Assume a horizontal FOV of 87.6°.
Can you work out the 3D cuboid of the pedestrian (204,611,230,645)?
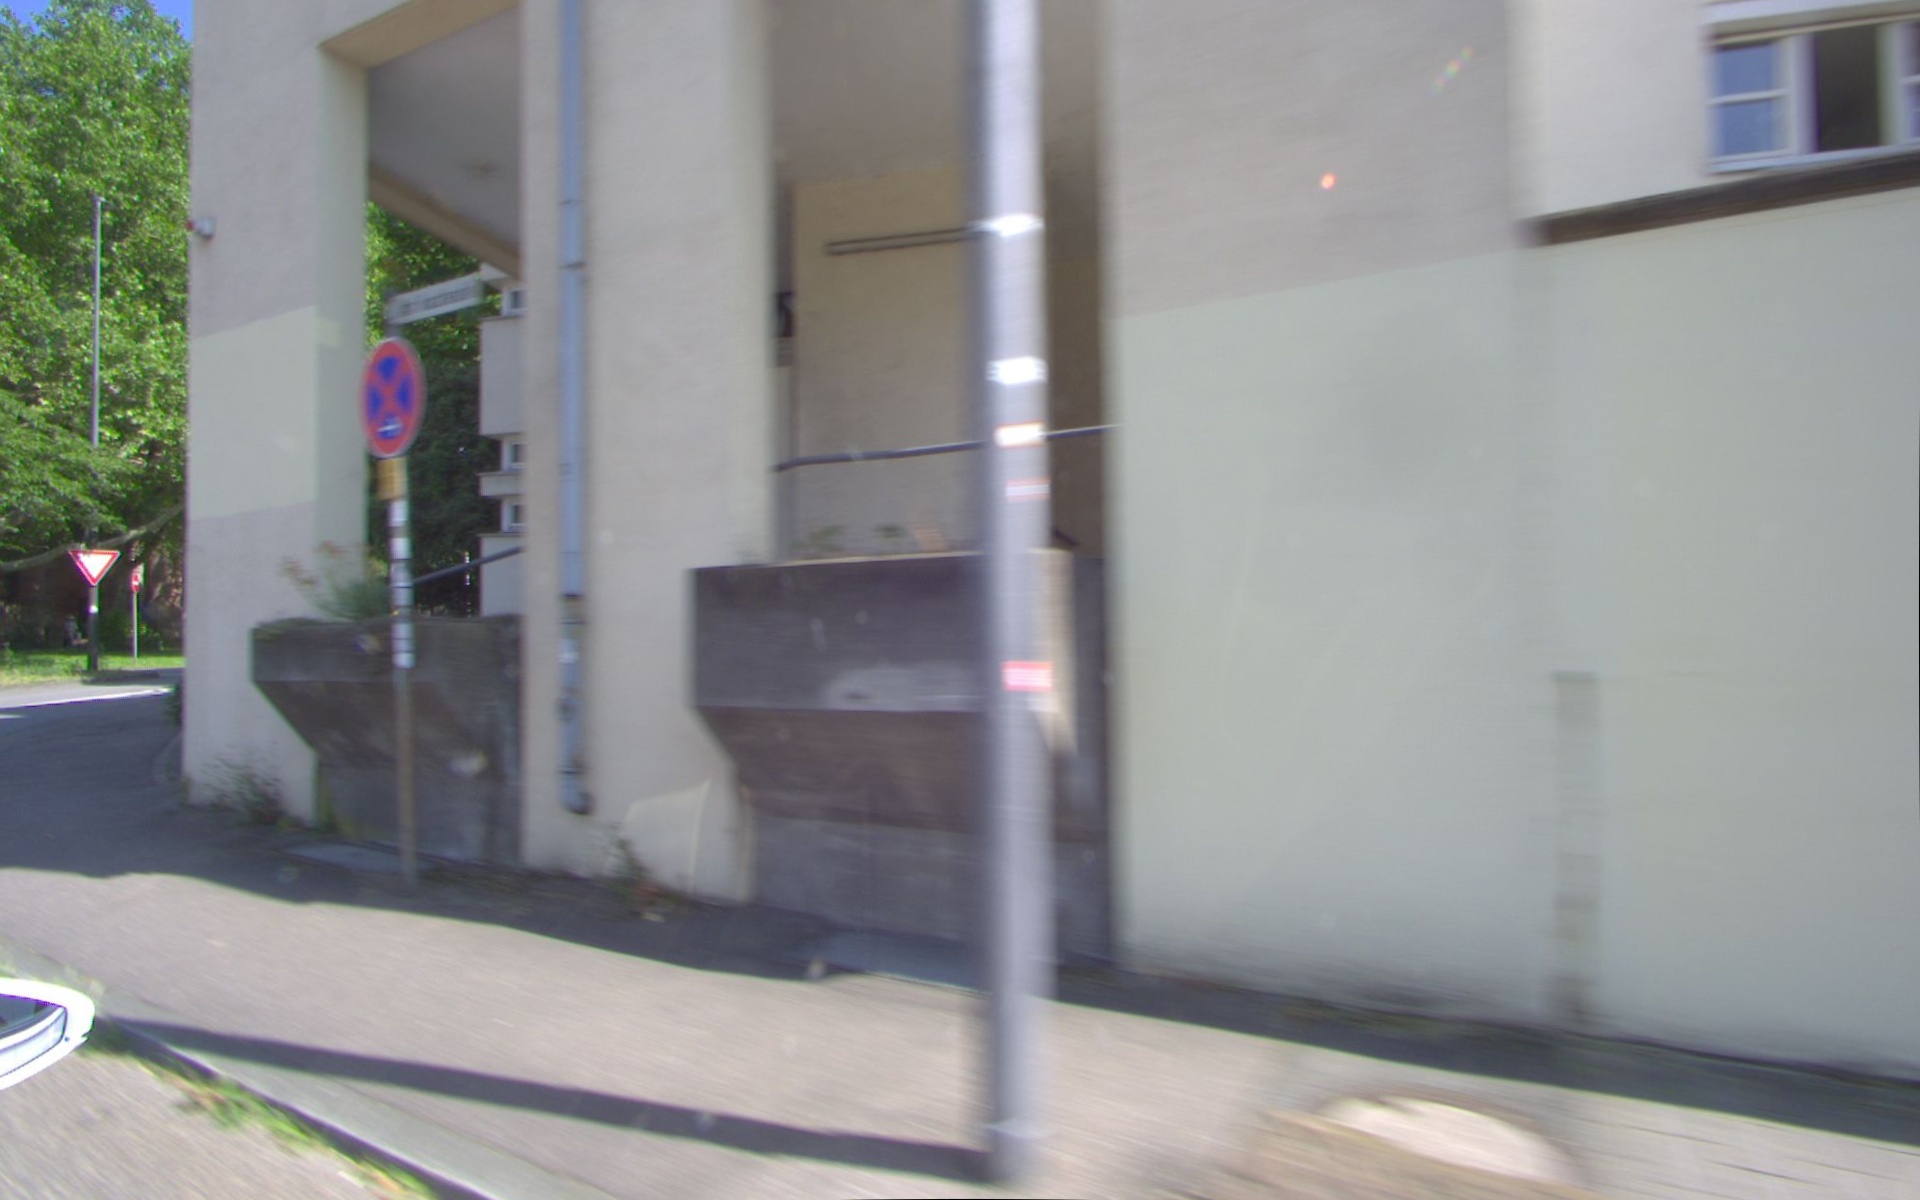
[{"bbox_3d":[-38.415,1.452,51.783,0.654,1.778,0.794,0,-2,21],"label":"pedestrian"}]

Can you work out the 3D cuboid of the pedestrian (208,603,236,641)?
[{"bbox_3d":[-35.426,1.061,48.073,0.710,1.778,0.794,0,-2,21],"label":"pedestrian"}]

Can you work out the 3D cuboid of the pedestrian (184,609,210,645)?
[{"bbox_3d":[-38.762,1.369,50.876,0.654,1.778,0.794,0,-2,21],"label":"pedestrian"}]

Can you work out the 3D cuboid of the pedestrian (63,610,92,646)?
[{"bbox_3d":[-44.658,1.392,50.669,0.861,1.805,0.793,0,0,22],"label":"pedestrian"}]

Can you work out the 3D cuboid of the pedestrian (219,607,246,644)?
[{"bbox_3d":[-36.085,1.260,49.696,0.654,1.778,0.794,0,-2,21],"label":"pedestrian"}]

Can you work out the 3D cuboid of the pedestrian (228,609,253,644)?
[{"bbox_3d":[-37.143,1.382,51.699,0.654,1.778,0.794,0,-2,21],"label":"pedestrian"}]
